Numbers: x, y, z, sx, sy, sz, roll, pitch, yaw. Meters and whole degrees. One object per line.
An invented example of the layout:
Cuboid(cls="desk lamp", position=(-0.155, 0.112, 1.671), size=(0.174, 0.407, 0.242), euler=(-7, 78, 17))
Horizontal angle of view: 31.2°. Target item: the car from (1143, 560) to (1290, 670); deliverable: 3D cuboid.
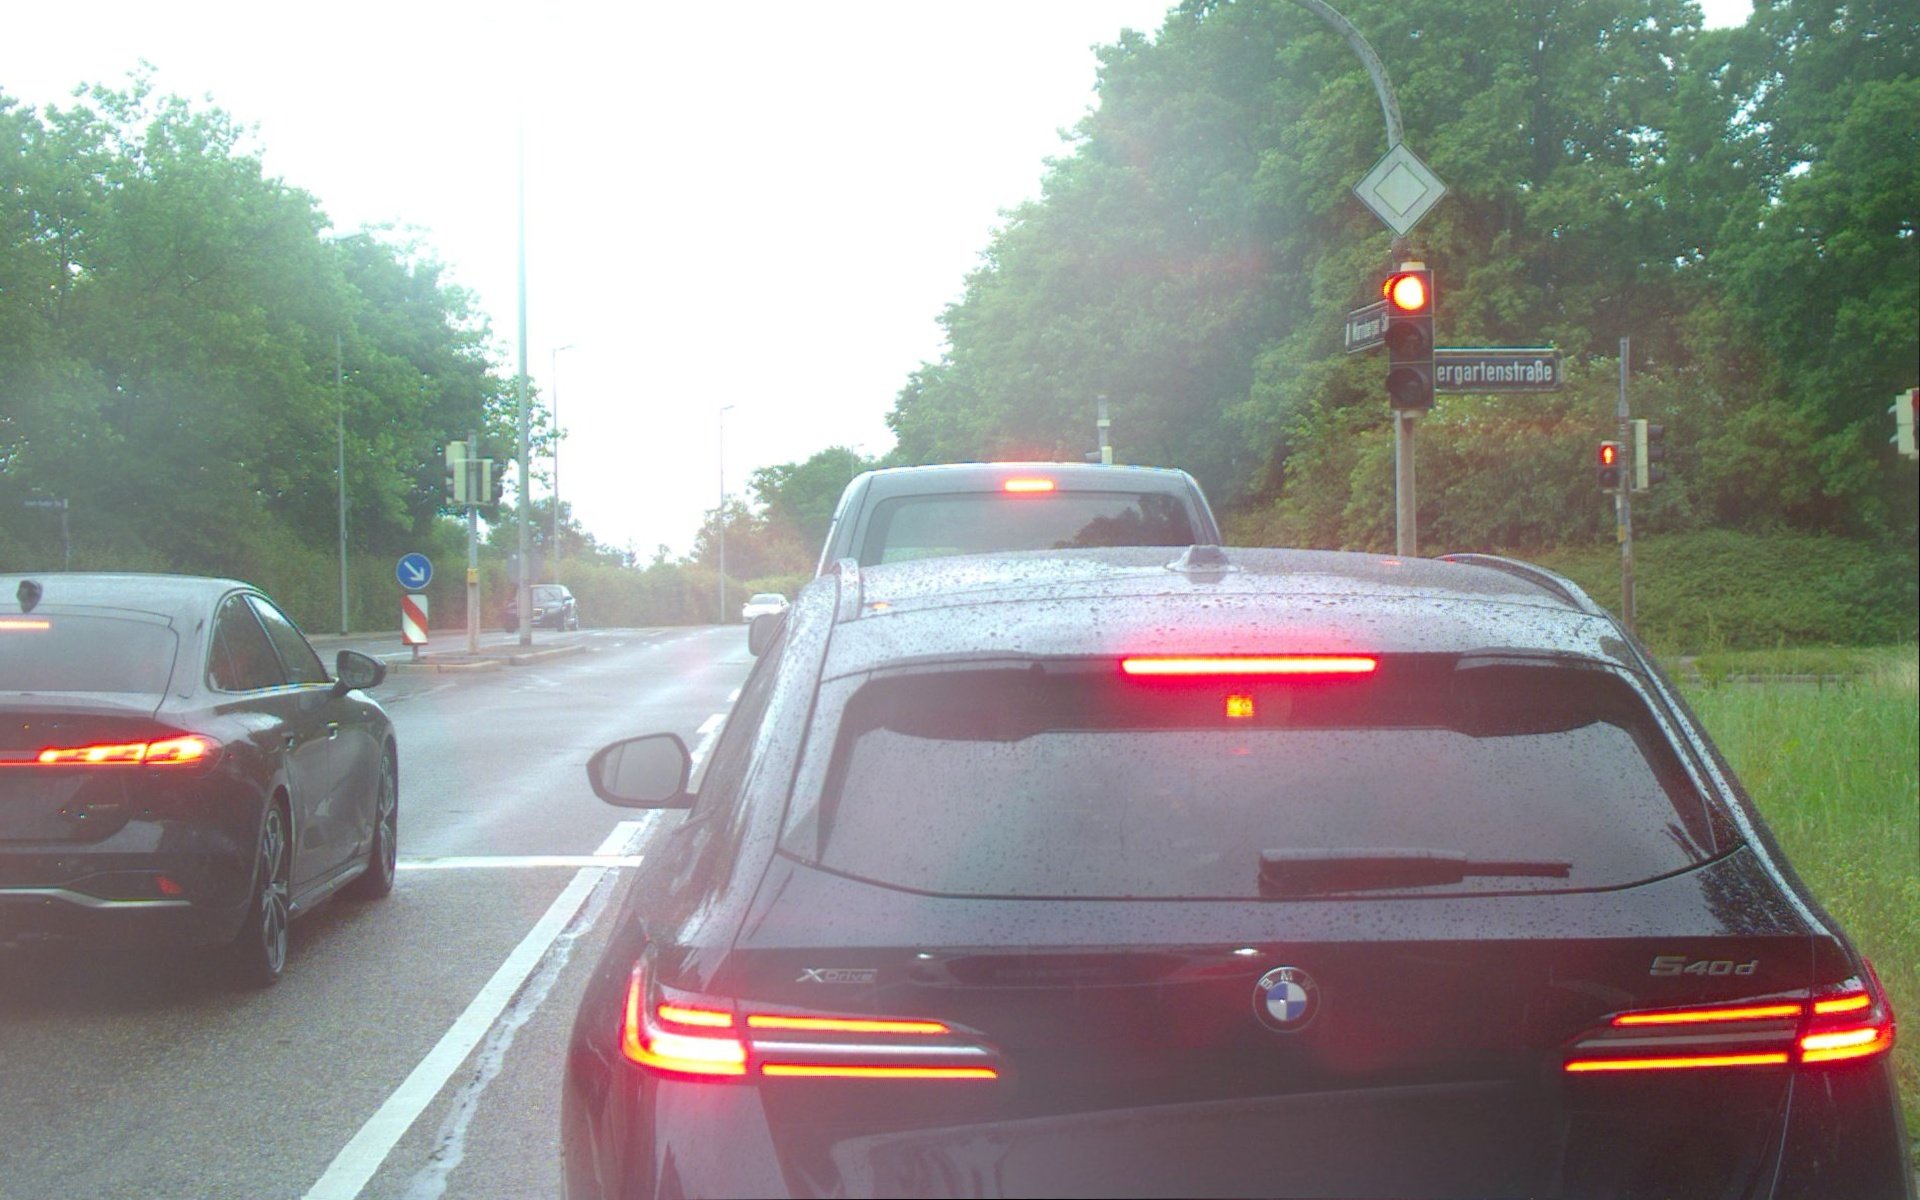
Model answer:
Cuboid(cls="car", position=(3.870, 0.207, 52.410), size=(1.873, 1.537, 3.952), euler=(-2, 0, 0))

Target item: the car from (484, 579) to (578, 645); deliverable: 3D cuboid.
Cuboid(cls="car", position=(-12.743, 0.341, 102.370), size=(1.994, 1.820, 4.000), euler=(-2, 0, 3))

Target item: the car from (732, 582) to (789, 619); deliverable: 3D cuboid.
Cuboid(cls="car", position=(-9.210, 0.027, 159.312), size=(1.994, 1.605, 3.671), euler=(-2, 0, 6))

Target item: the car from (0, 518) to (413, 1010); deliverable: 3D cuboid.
Cuboid(cls="car", position=(-3.350, 0.531, 13.007), size=(1.993, 1.522, 4.328), euler=(-2, 0, -3))

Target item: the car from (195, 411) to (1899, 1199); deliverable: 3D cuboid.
Cuboid(cls="car", position=(0.202, 0.572, 6.141), size=(1.898, 1.546, 4.614), euler=(0, 0, 3))

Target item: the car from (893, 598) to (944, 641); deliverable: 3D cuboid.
Cuboid(cls="car", position=(-1.428, 0.677, 120.691), size=(1.697, 1.422, 3.514), euler=(-2, 0, 0))

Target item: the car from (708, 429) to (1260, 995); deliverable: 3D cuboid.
Cuboid(cls="car", position=(0.075, 0.357, 13.342), size=(1.818, 1.862, 3.952), euler=(0, 0, 0))
